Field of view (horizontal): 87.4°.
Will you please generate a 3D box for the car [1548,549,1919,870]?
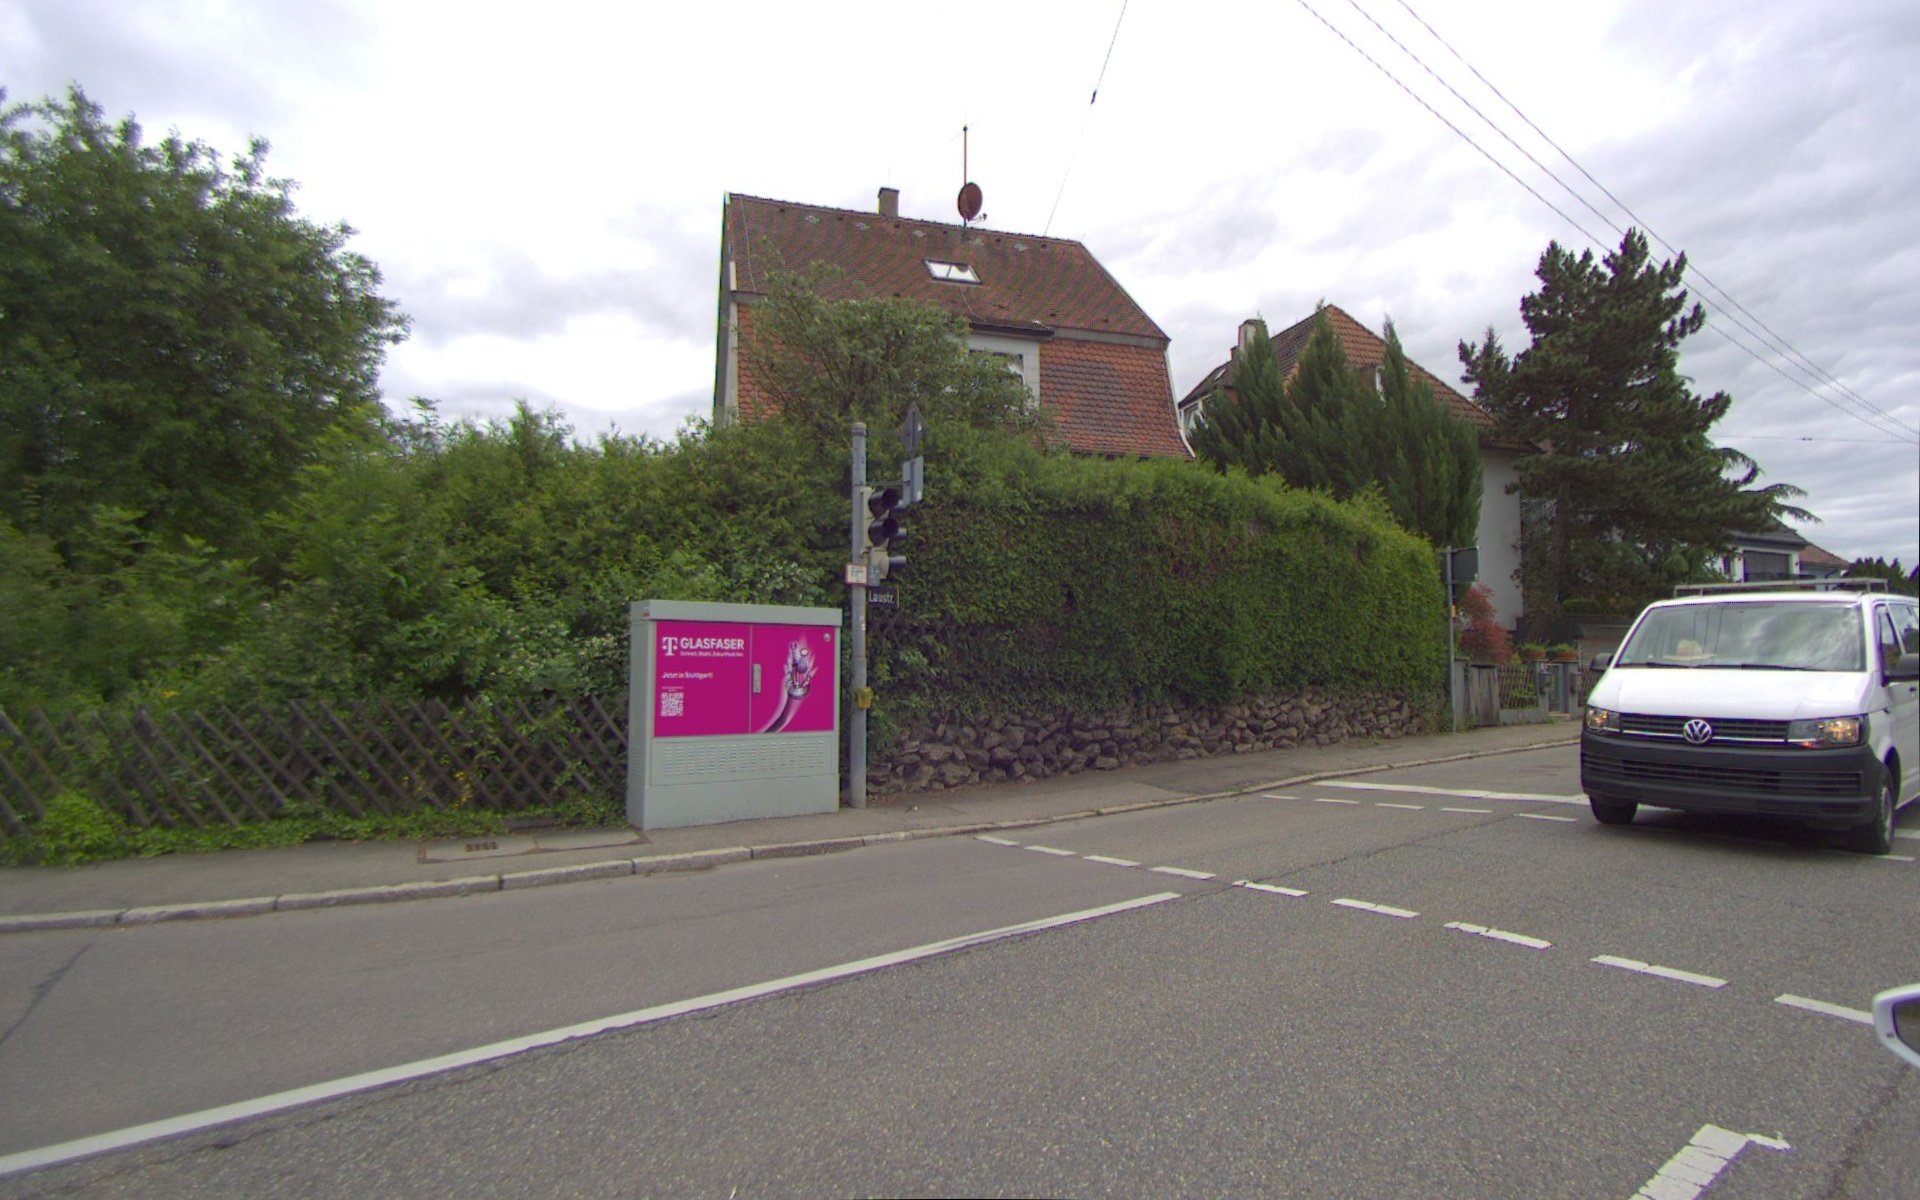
[{"bbox_3d":[7.249,0.835,8.879,5.128,2.074,1.843,2,-4,-39],"label":"car"}]
